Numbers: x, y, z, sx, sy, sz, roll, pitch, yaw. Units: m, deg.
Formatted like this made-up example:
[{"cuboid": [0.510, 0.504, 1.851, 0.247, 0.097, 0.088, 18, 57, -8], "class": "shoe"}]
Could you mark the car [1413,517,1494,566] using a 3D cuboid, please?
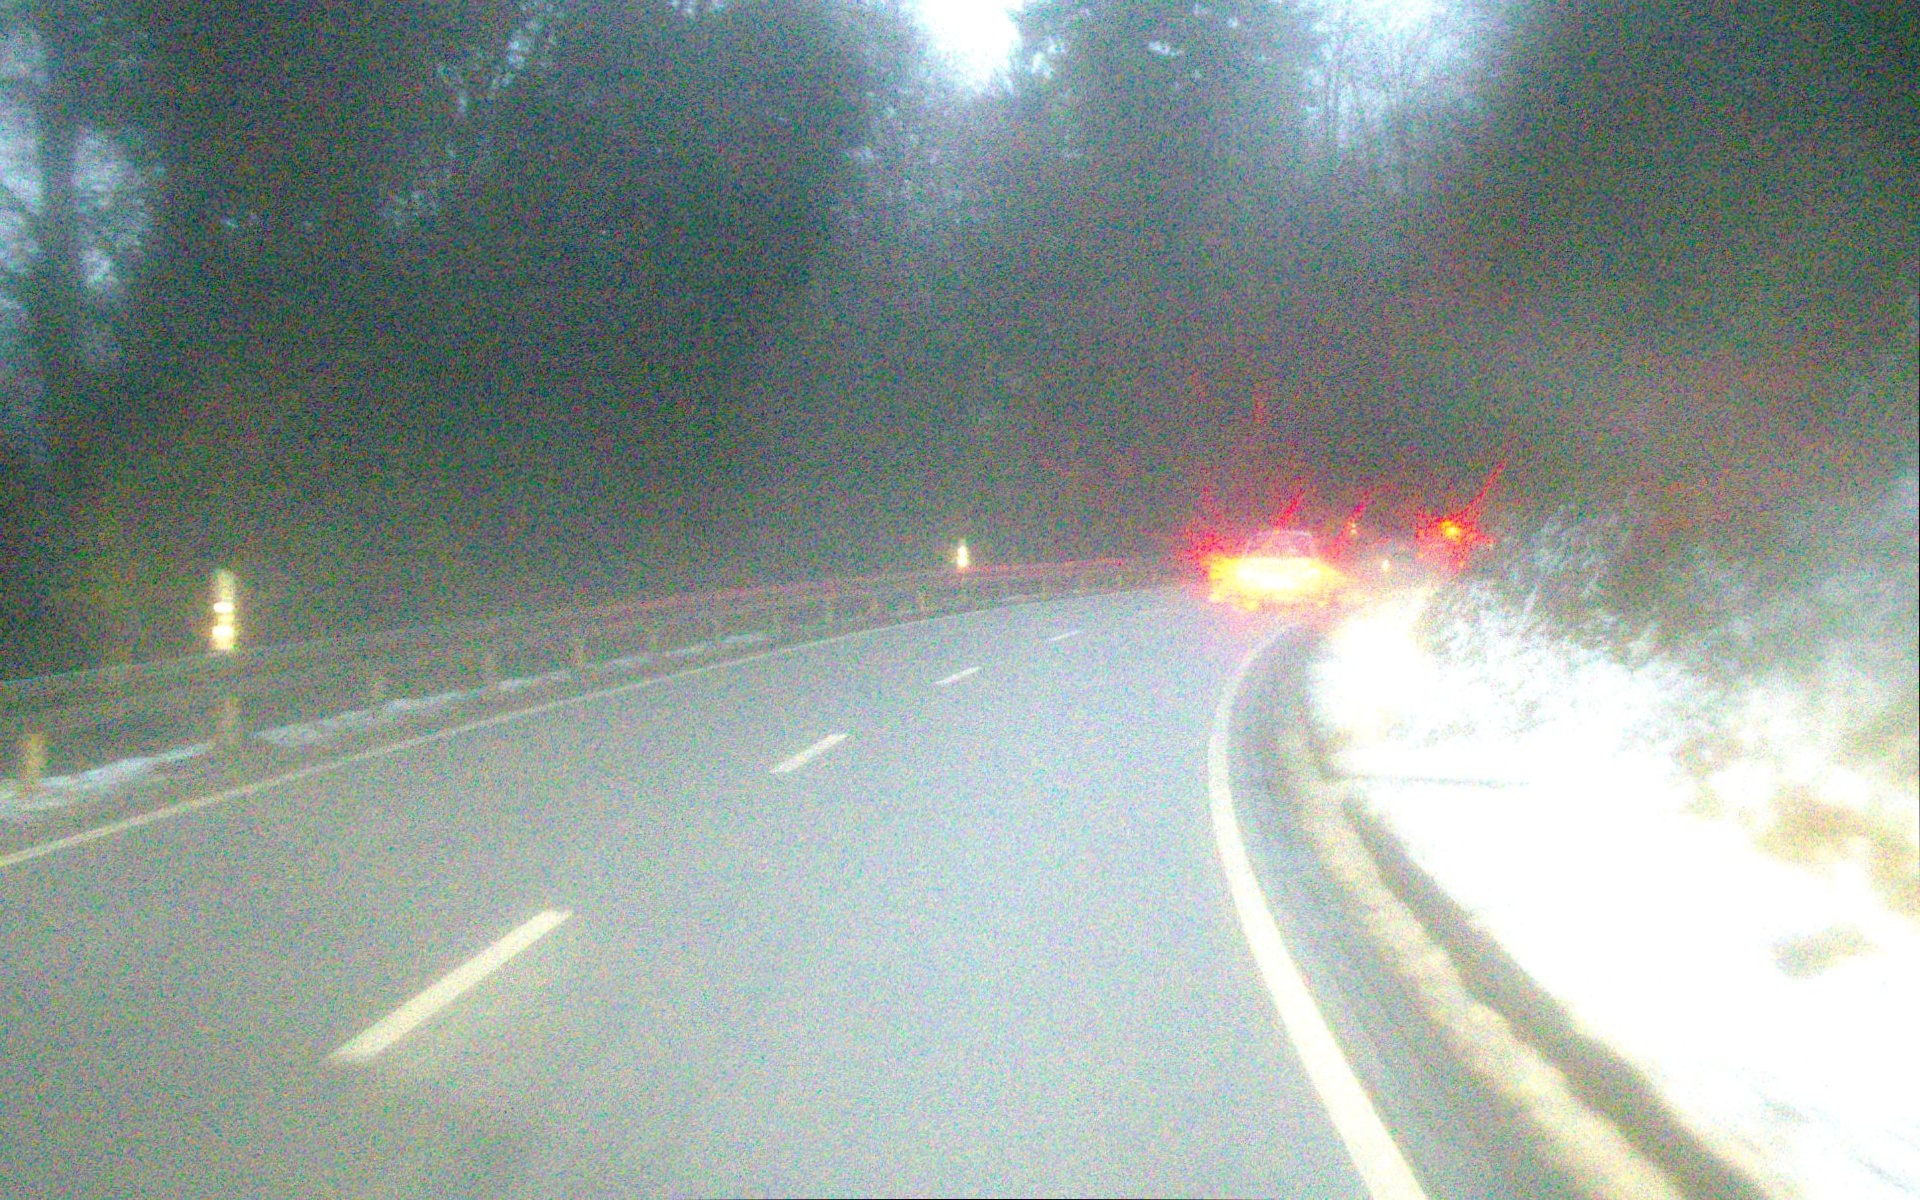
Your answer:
[{"cuboid": [14.024, -1.681, 97.927, 1.994, 1.305, 4.000, -2, 1, 5], "class": "car"}]

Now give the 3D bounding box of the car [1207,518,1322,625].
[{"cuboid": [5.681, -0.563, 64.270, 1.994, 1.866, 4.000, -2, 1, 5], "class": "car"}]
